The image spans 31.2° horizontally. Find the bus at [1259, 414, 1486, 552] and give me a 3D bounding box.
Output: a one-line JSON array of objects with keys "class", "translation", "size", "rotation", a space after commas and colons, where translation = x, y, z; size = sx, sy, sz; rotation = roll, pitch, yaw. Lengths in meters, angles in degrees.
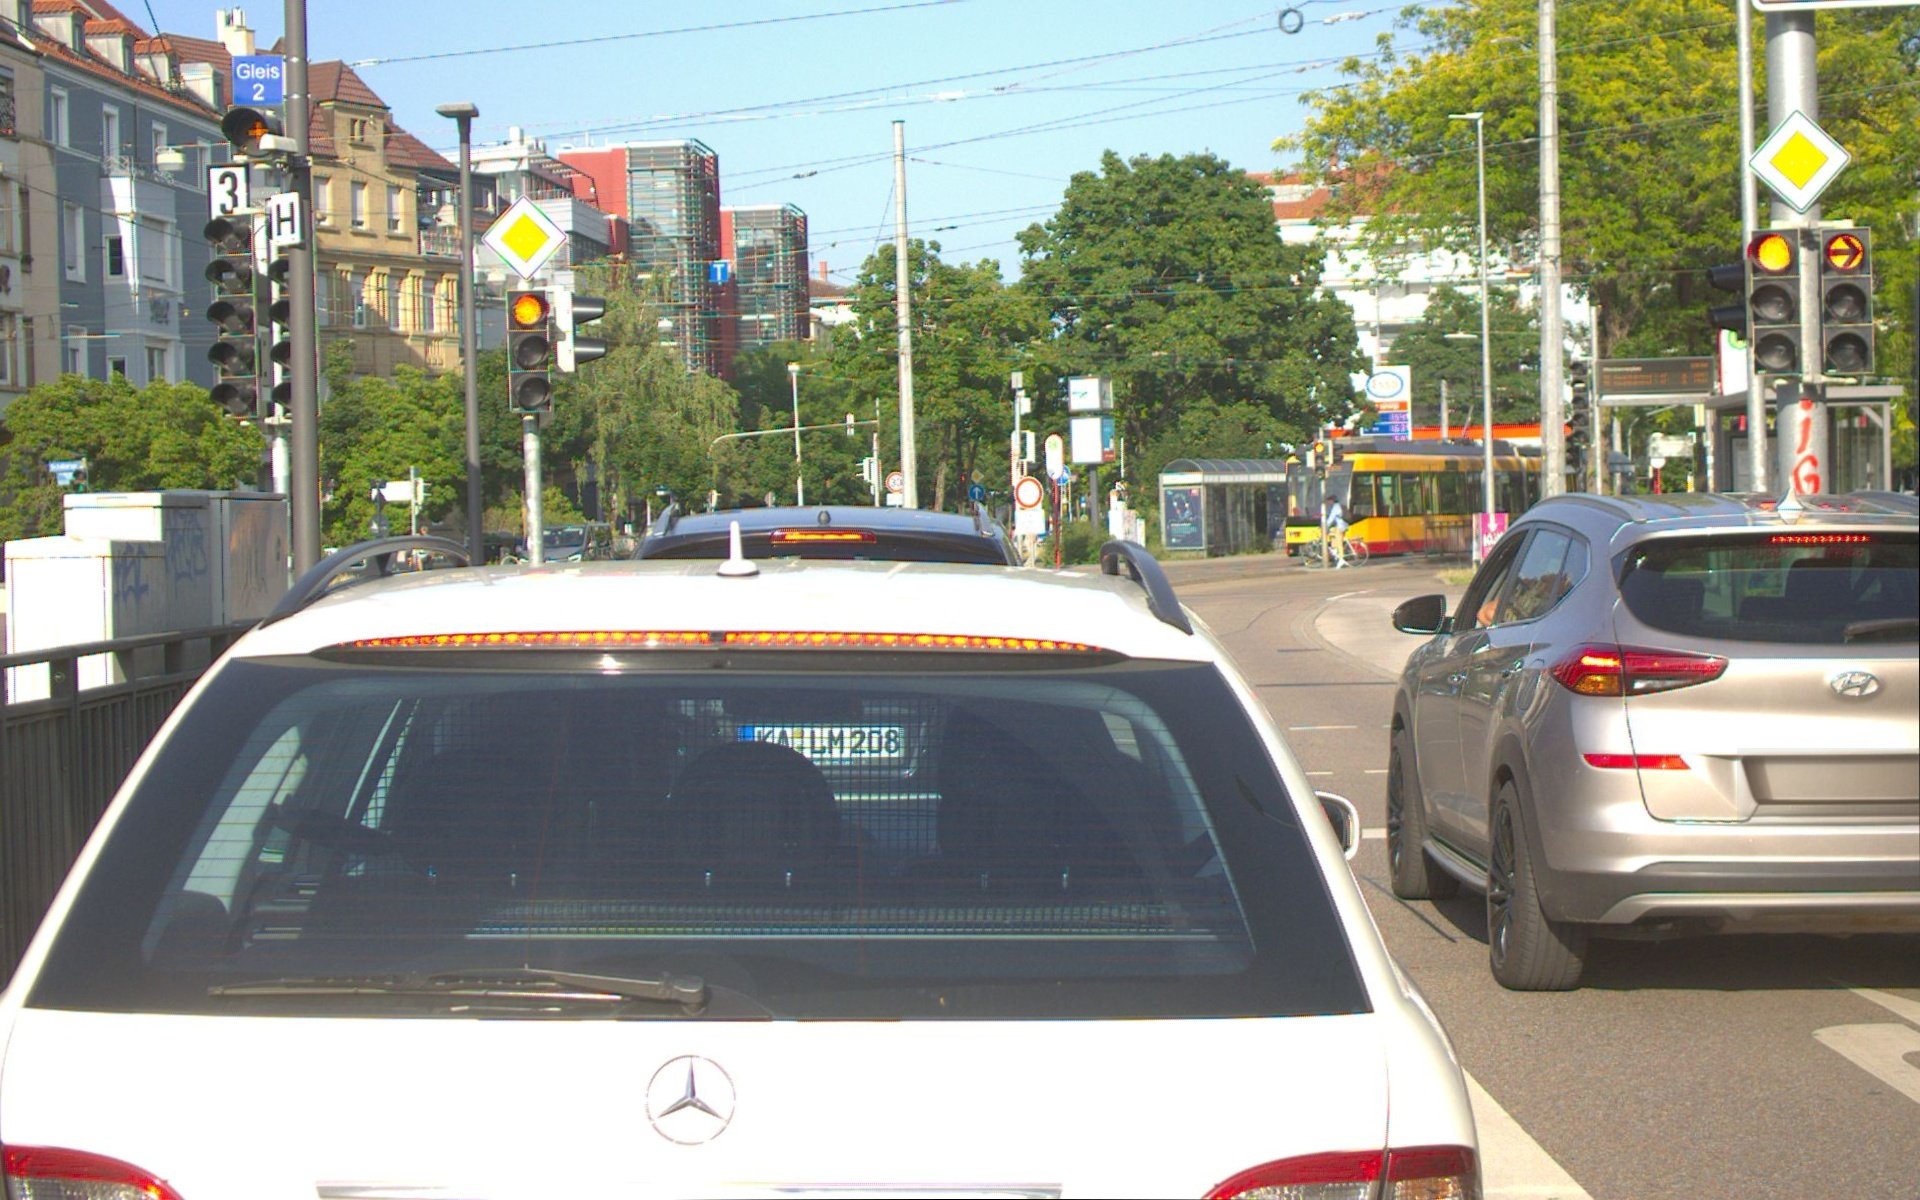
[{"class": "bus", "translation": [11.898, -3.210, 97.754], "size": [3.112, 3.593, 12.360], "rotation": [1, 1, 23]}]

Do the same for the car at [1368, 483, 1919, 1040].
[{"class": "car", "translation": [2.640, 0.438, 12.174], "size": [1.885, 1.645, 3.648], "rotation": [-2, 1, 0]}]

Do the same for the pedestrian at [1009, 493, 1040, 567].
[{"class": "pedestrian", "translation": [1.635, -1.782, 87.422], "size": [0.642, 1.850, 0.551], "rotation": [-1, 1, 11]}]

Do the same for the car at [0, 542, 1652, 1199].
[{"class": "car", "translation": [-0.292, 0.657, 4.977], "size": [1.796, 1.465, 3.648], "rotation": [0, 1, -1]}]

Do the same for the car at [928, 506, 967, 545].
[{"class": "car", "translation": [-0.673, -3.920, 182.610], "size": [1.993, 2.007, 4.000], "rotation": [1, 1, -1]}]

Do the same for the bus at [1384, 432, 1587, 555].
[{"class": "bus", "translation": [16.825, -3.295, 109.167], "size": [3.112, 3.593, 12.575], "rotation": [1, 1, 24]}]

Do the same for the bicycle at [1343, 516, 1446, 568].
[{"class": "bicycle", "translation": [10.717, -1.441, 84.791], "size": [2.483, 1.209, 0.806], "rotation": [-1, 1, 8]}]

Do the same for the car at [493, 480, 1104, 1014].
[{"class": "car", "translation": [-0.520, 0.421, 12.544], "size": [1.885, 1.645, 3.648], "rotation": [1, 1, 0]}]
